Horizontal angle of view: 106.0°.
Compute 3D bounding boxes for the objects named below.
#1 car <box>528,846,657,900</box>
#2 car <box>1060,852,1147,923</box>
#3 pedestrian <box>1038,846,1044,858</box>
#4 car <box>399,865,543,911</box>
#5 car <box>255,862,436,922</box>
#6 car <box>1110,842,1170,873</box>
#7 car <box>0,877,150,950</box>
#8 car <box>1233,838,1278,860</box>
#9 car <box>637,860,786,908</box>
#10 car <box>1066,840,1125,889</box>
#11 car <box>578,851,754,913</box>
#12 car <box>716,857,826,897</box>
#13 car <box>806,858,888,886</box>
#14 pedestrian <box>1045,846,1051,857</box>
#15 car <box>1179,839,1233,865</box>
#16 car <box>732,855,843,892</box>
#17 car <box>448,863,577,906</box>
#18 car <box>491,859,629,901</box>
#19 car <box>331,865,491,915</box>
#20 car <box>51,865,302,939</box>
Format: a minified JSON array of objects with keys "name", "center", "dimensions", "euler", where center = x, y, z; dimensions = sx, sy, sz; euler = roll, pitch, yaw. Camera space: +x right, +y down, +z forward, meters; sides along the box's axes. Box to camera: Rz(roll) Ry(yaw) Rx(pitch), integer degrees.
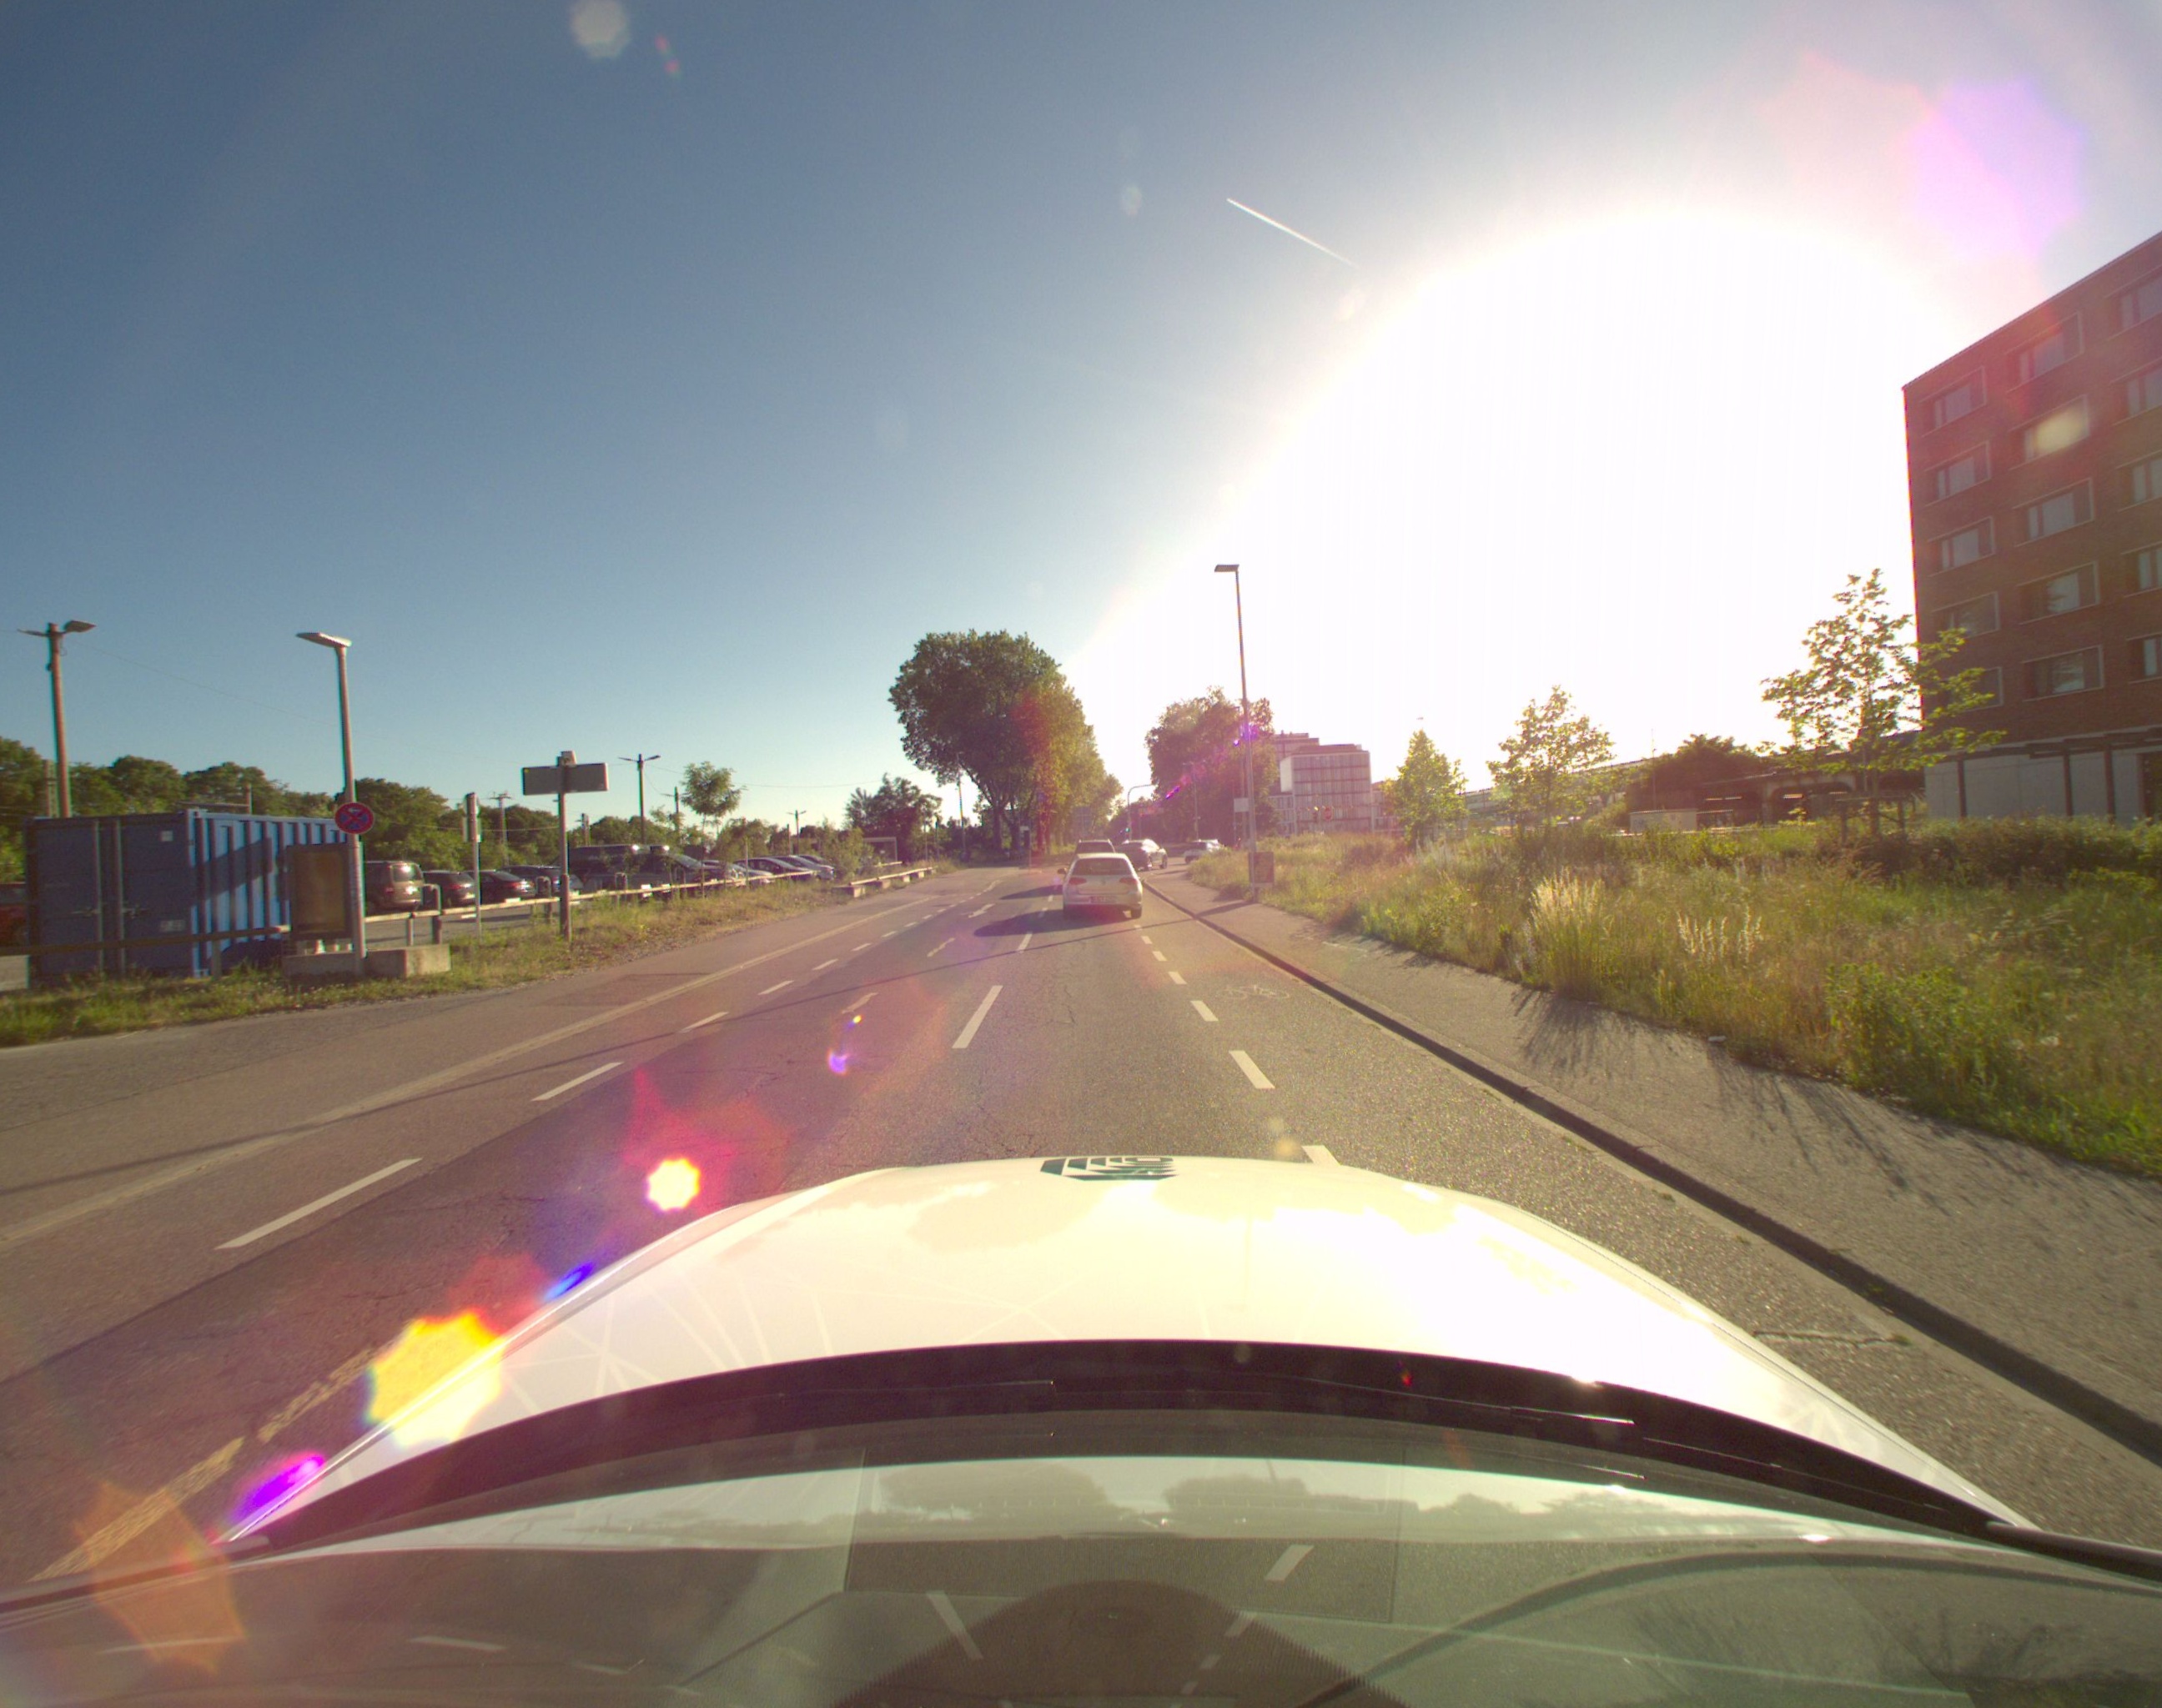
[{"name":"car","center":[-24.222,0.902,40.556],"dimensions":[4.913,2.459,2.318],"euler":[-2,0,-2]},{"name":"car","center":[0.426,0.695,19.187],"dimensions":[1.785,1.420,3.997],"euler":[-2,0,-2]},{"name":"pedestrian","center":[-4.985,-0.274,102.263],"dimensions":[0.676,1.415,0.684],"euler":[-2,0,0]},{"name":"car","center":[-24.569,1.341,32.927],"dimensions":[4.310,1.618,1.877],"euler":[-2,0,-2]},{"name":"car","center":[-24.865,1.265,27.662],"dimensions":[4.310,1.791,1.877],"euler":[-2,0,-2]},{"name":"car","center":[3.292,0.170,44.545],"dimensions":[1.897,1.529,4.432],"euler":[-2,0,23]},{"name":"car","center":[-24.931,1.393,19.104],"dimensions":[3.872,1.520,1.877],"euler":[-2,0,-2]},{"name":"car","center":[14.157,-0.442,65.896],"dimensions":[2.142,1.684,4.026],"euler":[-2,0,35]},{"name":"car","center":[-13.702,1.082,30.443],"dimensions":[4.581,1.557,1.999],"euler":[-2,0,-2]},{"name":"car","center":[0.640,0.364,32.044],"dimensions":[1.809,1.768,4.638],"euler":[-2,0,7]},{"name":"car","center":[-13.873,0.902,27.448],"dimensions":[4.832,1.834,1.999],"euler":[-2,0,-2]},{"name":"car","center":[-13.592,0.979,35.863],"dimensions":[4.077,1.557,1.877],"euler":[-2,0,-2]},{"name":"car","center":[-14.287,1.087,49.948],"dimensions":[4.413,1.557,1.877],"euler":[-2,0,-2]},{"name":"pedestrian","center":[-4.154,-0.301,102.191],"dimensions":[0.676,1.415,0.684],"euler":[-2,0,0]},{"name":"car","center":[8.365,-0.152,54.141],"dimensions":[1.880,1.596,4.026],"euler":[-2,0,36]},{"name":"car","center":[-13.860,0.899,38.664],"dimensions":[4.529,1.557,1.877],"euler":[-2,0,-2]},{"name":"car","center":[-24.714,1.306,35.537],"dimensions":[4.196,1.618,1.877],"euler":[-2,0,-2]},{"name":"car","center":[-24.236,1.198,38.023],"dimensions":[4.913,1.705,2.166],"euler":[-2,0,-2]},{"name":"car","center":[-24.905,1.310,30.395],"dimensions":[4.310,1.618,1.877],"euler":[-2,0,-2]},{"name":"car","center":[-24.266,1.255,21.974],"dimensions":[4.561,1.741,2.060],"euler":[-2,0,3]}]
